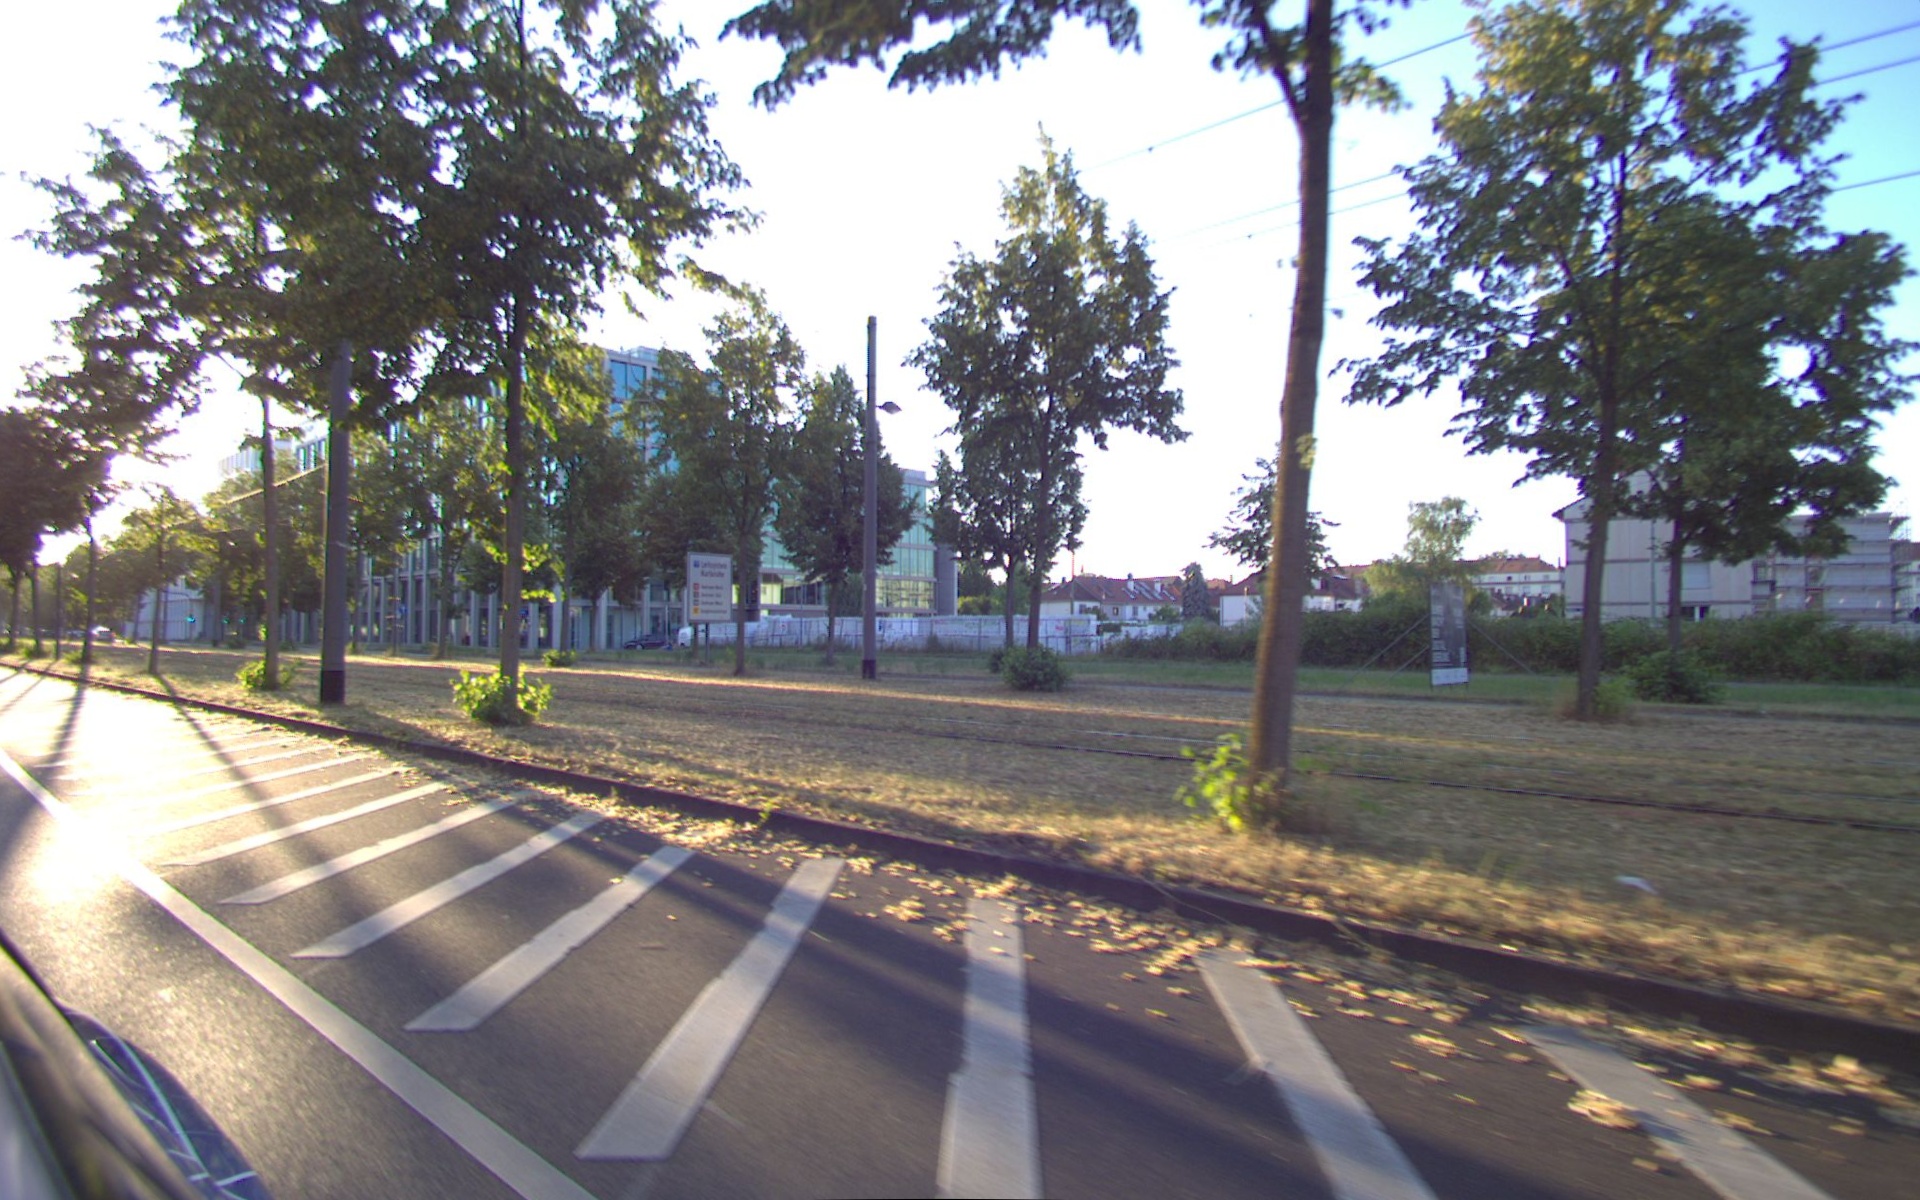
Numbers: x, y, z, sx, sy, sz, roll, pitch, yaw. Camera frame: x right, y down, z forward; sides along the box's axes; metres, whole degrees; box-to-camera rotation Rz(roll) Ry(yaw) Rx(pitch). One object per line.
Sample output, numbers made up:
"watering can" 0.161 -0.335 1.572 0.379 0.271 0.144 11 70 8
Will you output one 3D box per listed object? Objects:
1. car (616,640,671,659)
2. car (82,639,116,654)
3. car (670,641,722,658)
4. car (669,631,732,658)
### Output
"car" -26.146 4.068 83.620 1.895 1.457 3.942 -2 -3 44
"car" -88.299 4.779 103.758 4.626 1.497 1.883 -2 -3 39
"car" -22.708 4.224 87.001 1.895 1.457 3.941 -2 -3 45
"car" -19.726 3.377 76.762 5.082 2.029 2.183 -2 -3 42
